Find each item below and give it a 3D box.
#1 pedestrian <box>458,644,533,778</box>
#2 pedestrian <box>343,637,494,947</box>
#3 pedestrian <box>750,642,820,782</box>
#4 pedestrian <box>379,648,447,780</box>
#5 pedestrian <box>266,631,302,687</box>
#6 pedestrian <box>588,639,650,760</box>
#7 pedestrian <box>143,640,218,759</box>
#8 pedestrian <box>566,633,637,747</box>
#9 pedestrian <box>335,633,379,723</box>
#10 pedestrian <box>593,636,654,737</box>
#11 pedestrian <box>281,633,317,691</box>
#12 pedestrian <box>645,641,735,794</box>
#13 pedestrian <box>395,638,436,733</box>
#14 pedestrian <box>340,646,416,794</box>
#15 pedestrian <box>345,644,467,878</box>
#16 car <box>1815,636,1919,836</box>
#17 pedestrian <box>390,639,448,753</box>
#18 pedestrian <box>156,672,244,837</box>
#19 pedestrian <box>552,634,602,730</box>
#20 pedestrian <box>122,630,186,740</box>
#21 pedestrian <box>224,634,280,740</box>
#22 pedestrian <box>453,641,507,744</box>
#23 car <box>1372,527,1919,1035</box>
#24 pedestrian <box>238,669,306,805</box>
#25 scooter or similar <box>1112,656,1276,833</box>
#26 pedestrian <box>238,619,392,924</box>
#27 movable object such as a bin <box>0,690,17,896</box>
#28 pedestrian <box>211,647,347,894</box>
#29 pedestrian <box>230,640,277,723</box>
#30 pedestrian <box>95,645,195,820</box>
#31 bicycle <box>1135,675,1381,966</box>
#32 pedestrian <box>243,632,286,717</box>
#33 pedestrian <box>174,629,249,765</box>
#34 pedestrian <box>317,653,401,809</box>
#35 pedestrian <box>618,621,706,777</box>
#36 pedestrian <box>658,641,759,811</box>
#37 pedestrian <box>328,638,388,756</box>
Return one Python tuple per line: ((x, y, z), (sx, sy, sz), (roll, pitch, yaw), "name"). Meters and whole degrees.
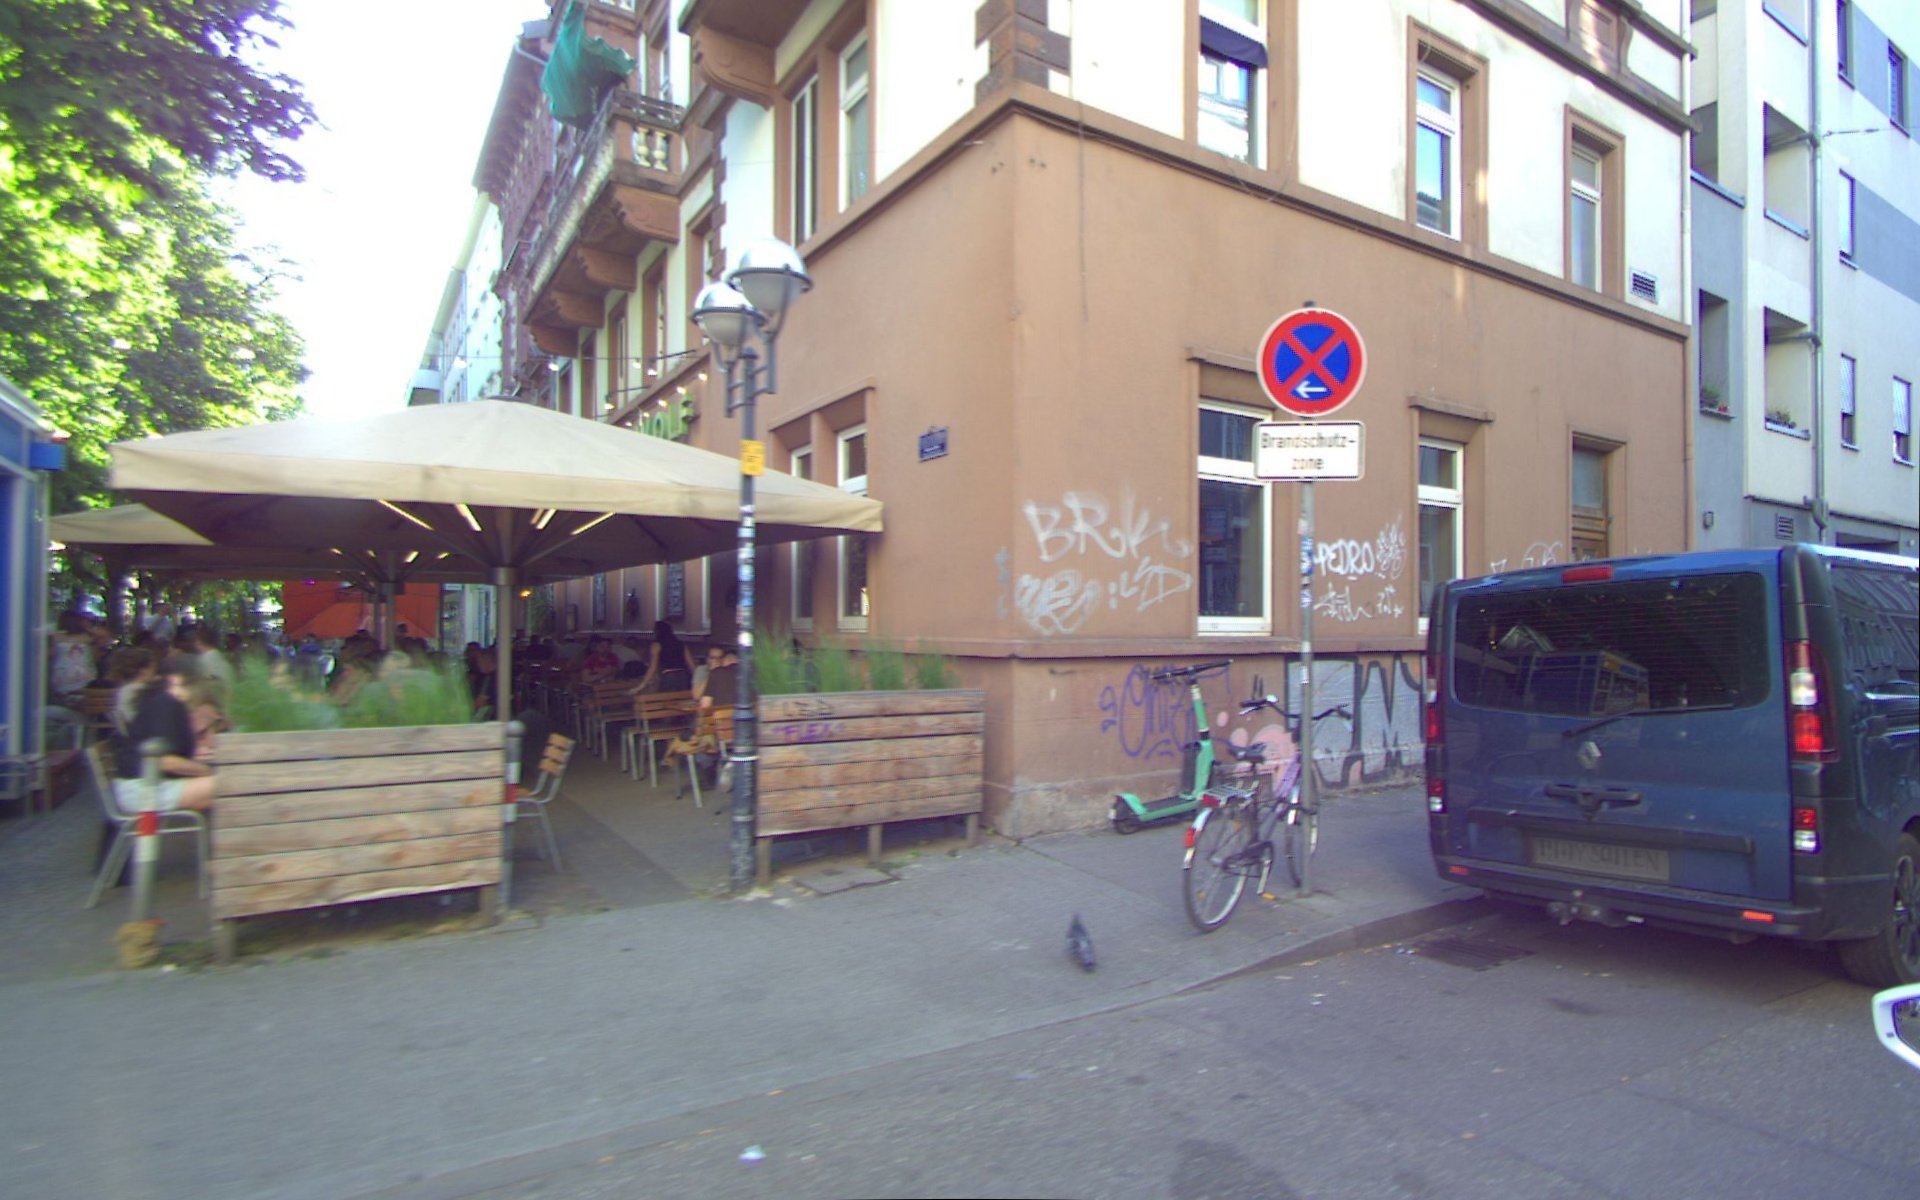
((-4.995, 1.166, 10.802), (0.670, 1.359, 0.555), (0, -1, -32), "pedestrian")
((-2.851, 0.938, 5.273), (0.610, 1.464, 0.701), (2, -1, -33), "pedestrian")
((-1.601, 1.009, 9.156), (0.416, 1.202, 0.440), (4, 2, -32), "pedestrian")
((-5.834, 1.186, 10.714), (0.615, 1.337, 0.510), (0, -1, -32), "pedestrian")
((-16.814, 1.456, 24.984), (0.718, 1.351, 0.469), (0, -1, -33), "pedestrian")
((-4.040, 1.156, 11.897), (0.615, 1.380, 0.469), (0, -1, -32), "pedestrian")
((-8.876, 1.113, 11.452), (0.615, 1.303, 0.512), (0, -1, -32), "pedestrian")
((-4.646, 1.143, 13.013), (0.741, 1.410, 0.674), (0, -1, -32), "pedestrian")
((-10.067, 1.282, 16.764), (0.615, 1.458, 0.469), (0, -1, -32), "pedestrian")
((-4.715, 1.188, 14.072), (0.670, 1.359, 0.674), (0, -1, -32), "pedestrian")
((-15.813, 1.464, 24.039), (0.718, 1.351, 0.469), (0, -1, -33), "pedestrian")
((-2.582, 1.084, 9.579), (0.684, 1.379, 0.614), (0, -1, -32), "pedestrian")
((-8.145, 1.258, 15.013), (0.496, 1.380, 0.469), (1, -2, -32), "pedestrian")
((-5.629, 1.131, 9.712), (0.615, 1.359, 0.510), (0, -1, -32), "pedestrian")
((-3.621, 0.997, 6.553), (0.610, 1.393, 0.701), (2, -1, -33), "pedestrian")
((9.202, 1.099, 8.623), (3.827, 1.541, 1.742), (2, -5, -33), "car")
((-6.803, 1.184, 12.641), (0.615, 1.380, 0.469), (0, -1, -32), "pedestrian")
((-5.665, 1.121, 7.509), (0.421, 1.135, 0.652), (2, -2, -31), "pedestrian")
((-5.669, 1.200, 14.872), (0.615, 1.380, 0.469), (0, -1, -32), "pedestrian")
((-11.030, 1.146, 13.761), (0.615, 1.458, 0.469), (0, -1, -32), "pedestrian")
((-10.098, 1.223, 14.339), (0.615, 1.458, 0.469), (0, -1, -32), "pedestrian")
((-6.512, 1.233, 13.623), (0.615, 1.336, 0.469), (0, -1, -32), "pedestrian")
((5.002, 0.723, 6.016), (5.237, 1.904, 2.010), (1, -1, -32), "car")
((-5.831, 1.140, 8.529), (0.421, 1.085, 0.510), (2, -2, -31), "pedestrian")
((1.794, 1.051, 7.621), (1.377, 1.232, 0.345), (2, -1, -34), "scooter or similar")
((-3.405, 0.844, 5.321), (0.610, 1.464, 0.701), (2, -1, -33), "pedestrian")
((-5.357, 1.038, 5.025), (0.737, 1.101, 0.865), (2, -1, -32), "movable object such as a bin")
((-4.087, 0.971, 6.057), (0.610, 1.348, 0.701), (2, -1, -33), "pedestrian")
((-11.788, 1.345, 16.767), (0.615, 1.341, 0.469), (0, -1, -32), "pedestrian")
((-6.265, 0.996, 7.740), (0.509, 1.280, 0.422), (2, -2, -31), "pedestrian")
((1.705, 1.072, 5.506), (0.543, 1.232, 1.979), (1, -1, 40), "bicycle")
((-12.657, 1.337, 18.301), (0.615, 1.504, 0.469), (0, -1, -32), "pedestrian")
((-8.250, 1.044, 11.097), (0.615, 1.438, 0.512), (0, -1, -32), "pedestrian")
((-5.311, 1.120, 8.872), (0.583, 1.283, 0.642), (2, -1, -33), "pedestrian")
((-3.178, 1.022, 10.702), (0.741, 1.582, 0.674), (1, -2, -32), "pedestrian")
((-2.196, 1.054, 8.744), (0.684, 1.379, 0.674), (0, -1, -32), "pedestrian")
((-7.320, 1.160, 12.211), (0.615, 1.380, 0.469), (0, -1, -32), "pedestrian")
